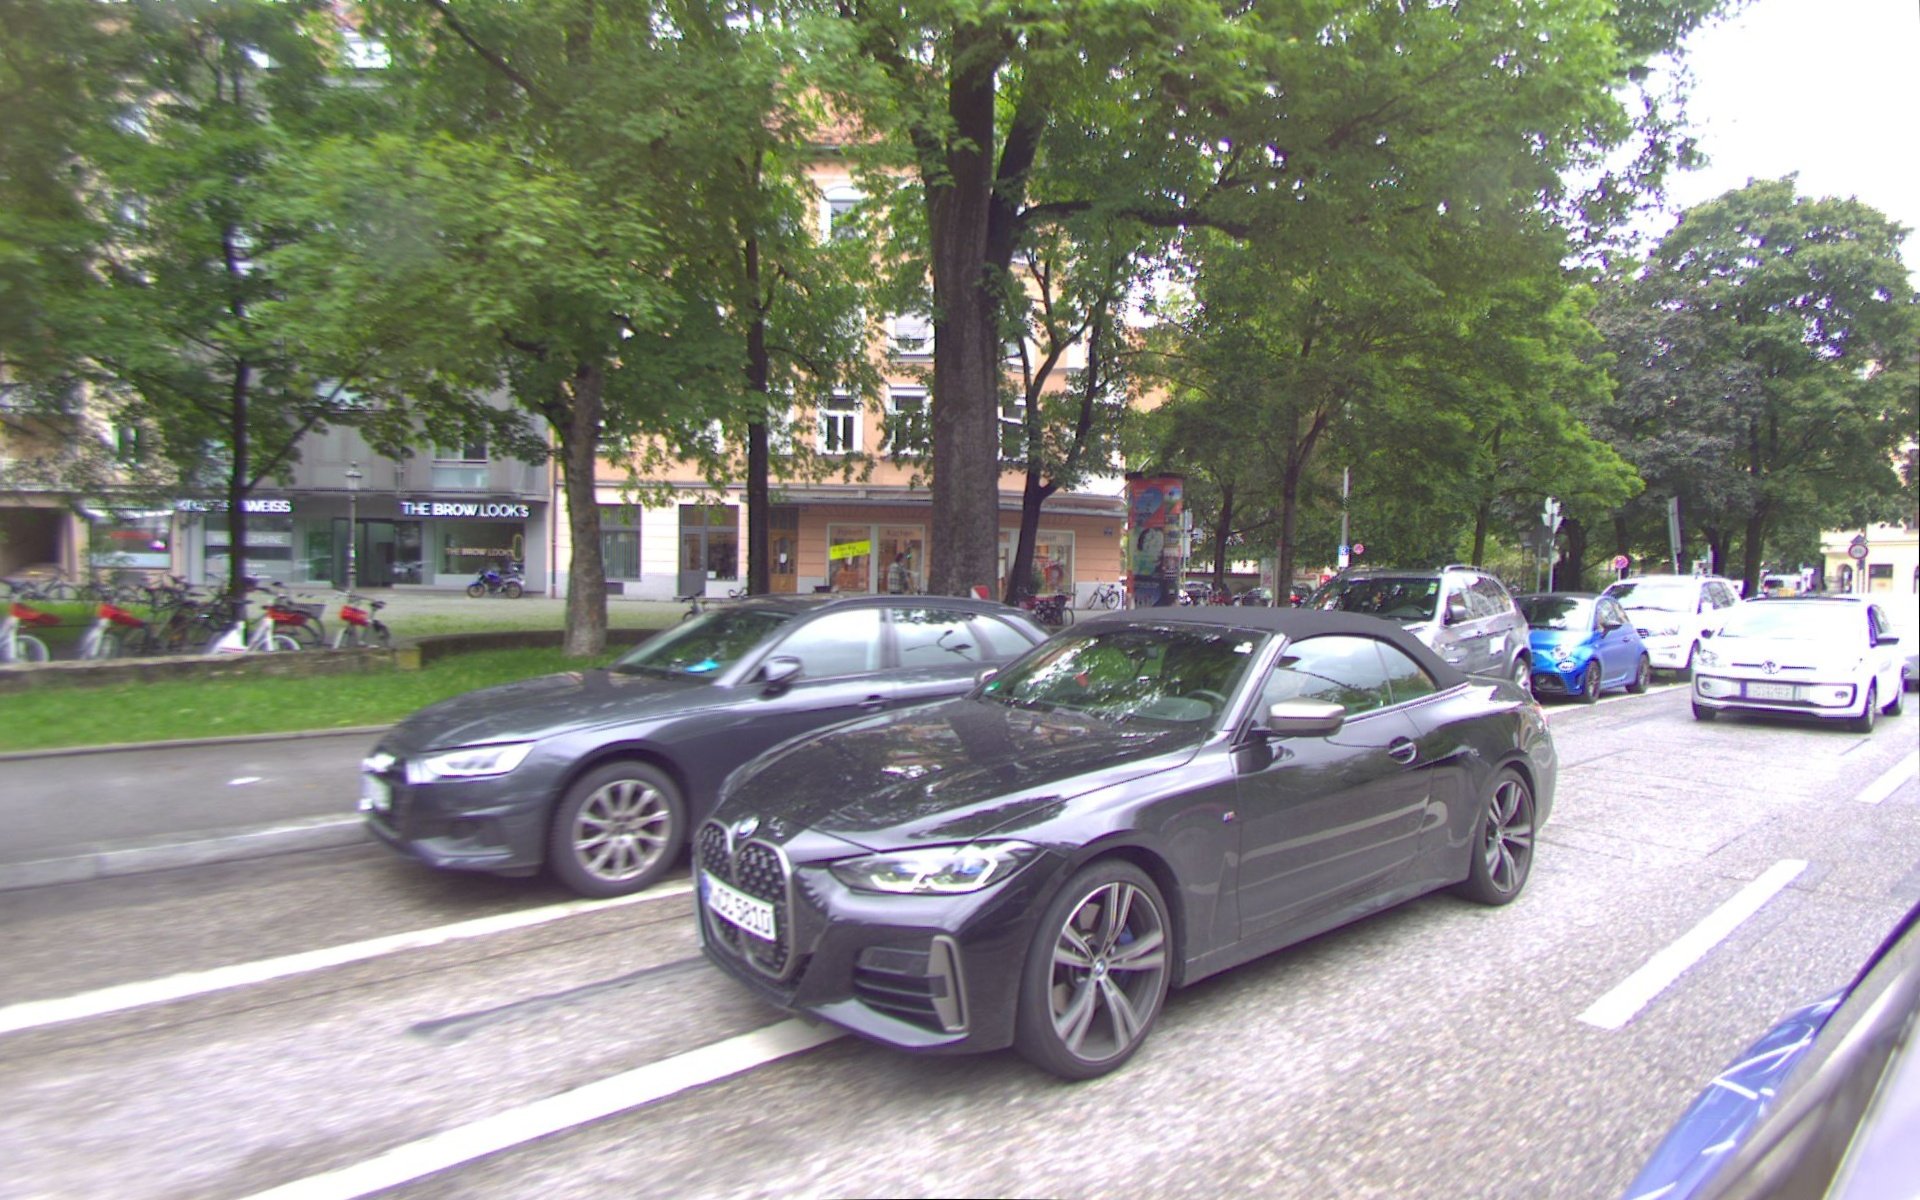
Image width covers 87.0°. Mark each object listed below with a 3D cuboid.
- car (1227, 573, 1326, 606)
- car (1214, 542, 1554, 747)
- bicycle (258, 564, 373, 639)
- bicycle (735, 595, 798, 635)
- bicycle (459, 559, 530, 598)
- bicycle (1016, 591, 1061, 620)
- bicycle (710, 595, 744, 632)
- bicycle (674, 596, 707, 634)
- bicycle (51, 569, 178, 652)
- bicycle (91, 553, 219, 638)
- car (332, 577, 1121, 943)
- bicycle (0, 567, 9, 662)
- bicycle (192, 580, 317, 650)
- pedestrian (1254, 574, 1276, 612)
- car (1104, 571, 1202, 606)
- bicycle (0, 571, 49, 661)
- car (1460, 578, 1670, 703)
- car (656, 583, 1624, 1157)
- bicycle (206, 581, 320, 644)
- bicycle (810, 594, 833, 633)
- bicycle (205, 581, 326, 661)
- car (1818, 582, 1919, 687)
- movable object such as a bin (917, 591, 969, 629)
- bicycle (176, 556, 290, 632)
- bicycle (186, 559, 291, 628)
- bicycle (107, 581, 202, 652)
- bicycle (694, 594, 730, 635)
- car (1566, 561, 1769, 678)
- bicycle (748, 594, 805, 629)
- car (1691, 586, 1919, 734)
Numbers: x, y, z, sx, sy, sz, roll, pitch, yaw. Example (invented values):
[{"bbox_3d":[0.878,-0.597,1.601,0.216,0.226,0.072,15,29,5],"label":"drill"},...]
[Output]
[{"bbox_3d":[15.084,-0.520,48.493,1.824,1.485,4.447,-1,1,-31],"label":"car"},{"bbox_3d":[4.901,0.352,11.356,4.480,1.842,1.933,0,2,-45],"label":"car"},{"bbox_3d":[-7.968,0.020,12.511,1.391,0.905,0.312,0,0,13],"label":"bicycle"},{"bbox_3d":[-3.734,0.284,19.530,1.155,0.732,0.319,-1,1,-30],"label":"bicycle"},{"bbox_3d":[-16.037,-0.753,34.884,2.204,1.305,0.507,-1,0,-4],"label":"bicycle"},{"bbox_3d":[2.031,0.151,26.184,1.157,0.732,0.319,0,0,4],"label":"bicycle"},{"bbox_3d":[-4.836,0.271,20.979,0.313,0.732,1.180,-1,1,-31],"label":"bicycle"},{"bbox_3d":[-5.395,0.289,20.236,0.313,0.732,1.180,-1,1,-31],"label":"bicycle"},{"bbox_3d":[-9.406,0.116,11.257,1.391,0.905,0.312,0,0,13],"label":"bicycle"},{"bbox_3d":[-14.522,-0.107,18.244,2.439,1.373,0.626,4,2,21],"label":"bicycle"},{"bbox_3d":[-1.128,0.633,6.364,4.563,1.479,1.770,0,2,-42],"label":"car"},{"bbox_3d":[-15.025,0.220,14.821,2.439,1.374,0.626,0,0,22],"label":"bicycle"},{"bbox_3d":[-9.637,0.190,13.865,1.386,0.905,0.313,-1,1,-35],"label":"bicycle"},{"bbox_3d":[12.592,-0.288,41.828,0.632,1.571,0.603,-1,0,-34],"label":"pedestrian"},{"bbox_3d":[8.611,-0.531,45.447,1.824,1.485,4.447,-1,1,-31],"label":"car"},{"bbox_3d":[-10.131,0.146,10.625,1.397,0.905,0.311,1,1,24],"label":"bicycle"},{"bbox_3d":[8.830,0.495,14.675,3.597,1.568,1.523,0,2,-40],"label":"car"},{"bbox_3d":[1.207,0.662,4.689,4.711,1.406,1.728,0,2,-39],"label":"car"},{"bbox_3d":[-10.448,0.176,15.198,1.386,0.905,0.313,-1,1,-35],"label":"bicycle"},{"bbox_3d":[-2.792,0.262,20.365,0.312,0.732,1.181,-1,1,-14],"label":"bicycle"},{"bbox_3d":[-8.117,0.243,11.831,1.391,0.905,0.312,0,0,13],"label":"bicycle"},{"bbox_3d":[15.631,0.505,16.732,3.819,1.549,1.647,0,2,-41],"label":"car"},{"bbox_3d":[-0.429,0.245,25.107,0.759,0.883,1.182,0,2,-32],"label":"movable object such as a bin"},{"bbox_3d":[-14.771,-0.142,20.541,2.439,1.373,0.626,4,2,21],"label":"bicycle"},{"bbox_3d":[-16.027,-0.161,22.468,2.439,1.373,0.626,4,2,21],"label":"bicycle"},{"bbox_3d":[-10.906,0.205,13.739,0.307,0.905,1.414,-1,1,-7],"label":"bicycle"},{"bbox_3d":[-4.695,0.259,19.123,0.313,0.732,1.180,-1,1,-31],"label":"bicycle"},{"bbox_3d":[13.126,0.281,18.644,4.935,1.879,1.847,0,2,-40],"label":"car"},{"bbox_3d":[-3.970,0.248,21.897,1.154,0.732,0.320,-1,0,-18],"label":"bicycle"},{"bbox_3d":[10.326,0.598,12.232,3.557,1.483,1.647,0,2,-41],"label":"car"}]
